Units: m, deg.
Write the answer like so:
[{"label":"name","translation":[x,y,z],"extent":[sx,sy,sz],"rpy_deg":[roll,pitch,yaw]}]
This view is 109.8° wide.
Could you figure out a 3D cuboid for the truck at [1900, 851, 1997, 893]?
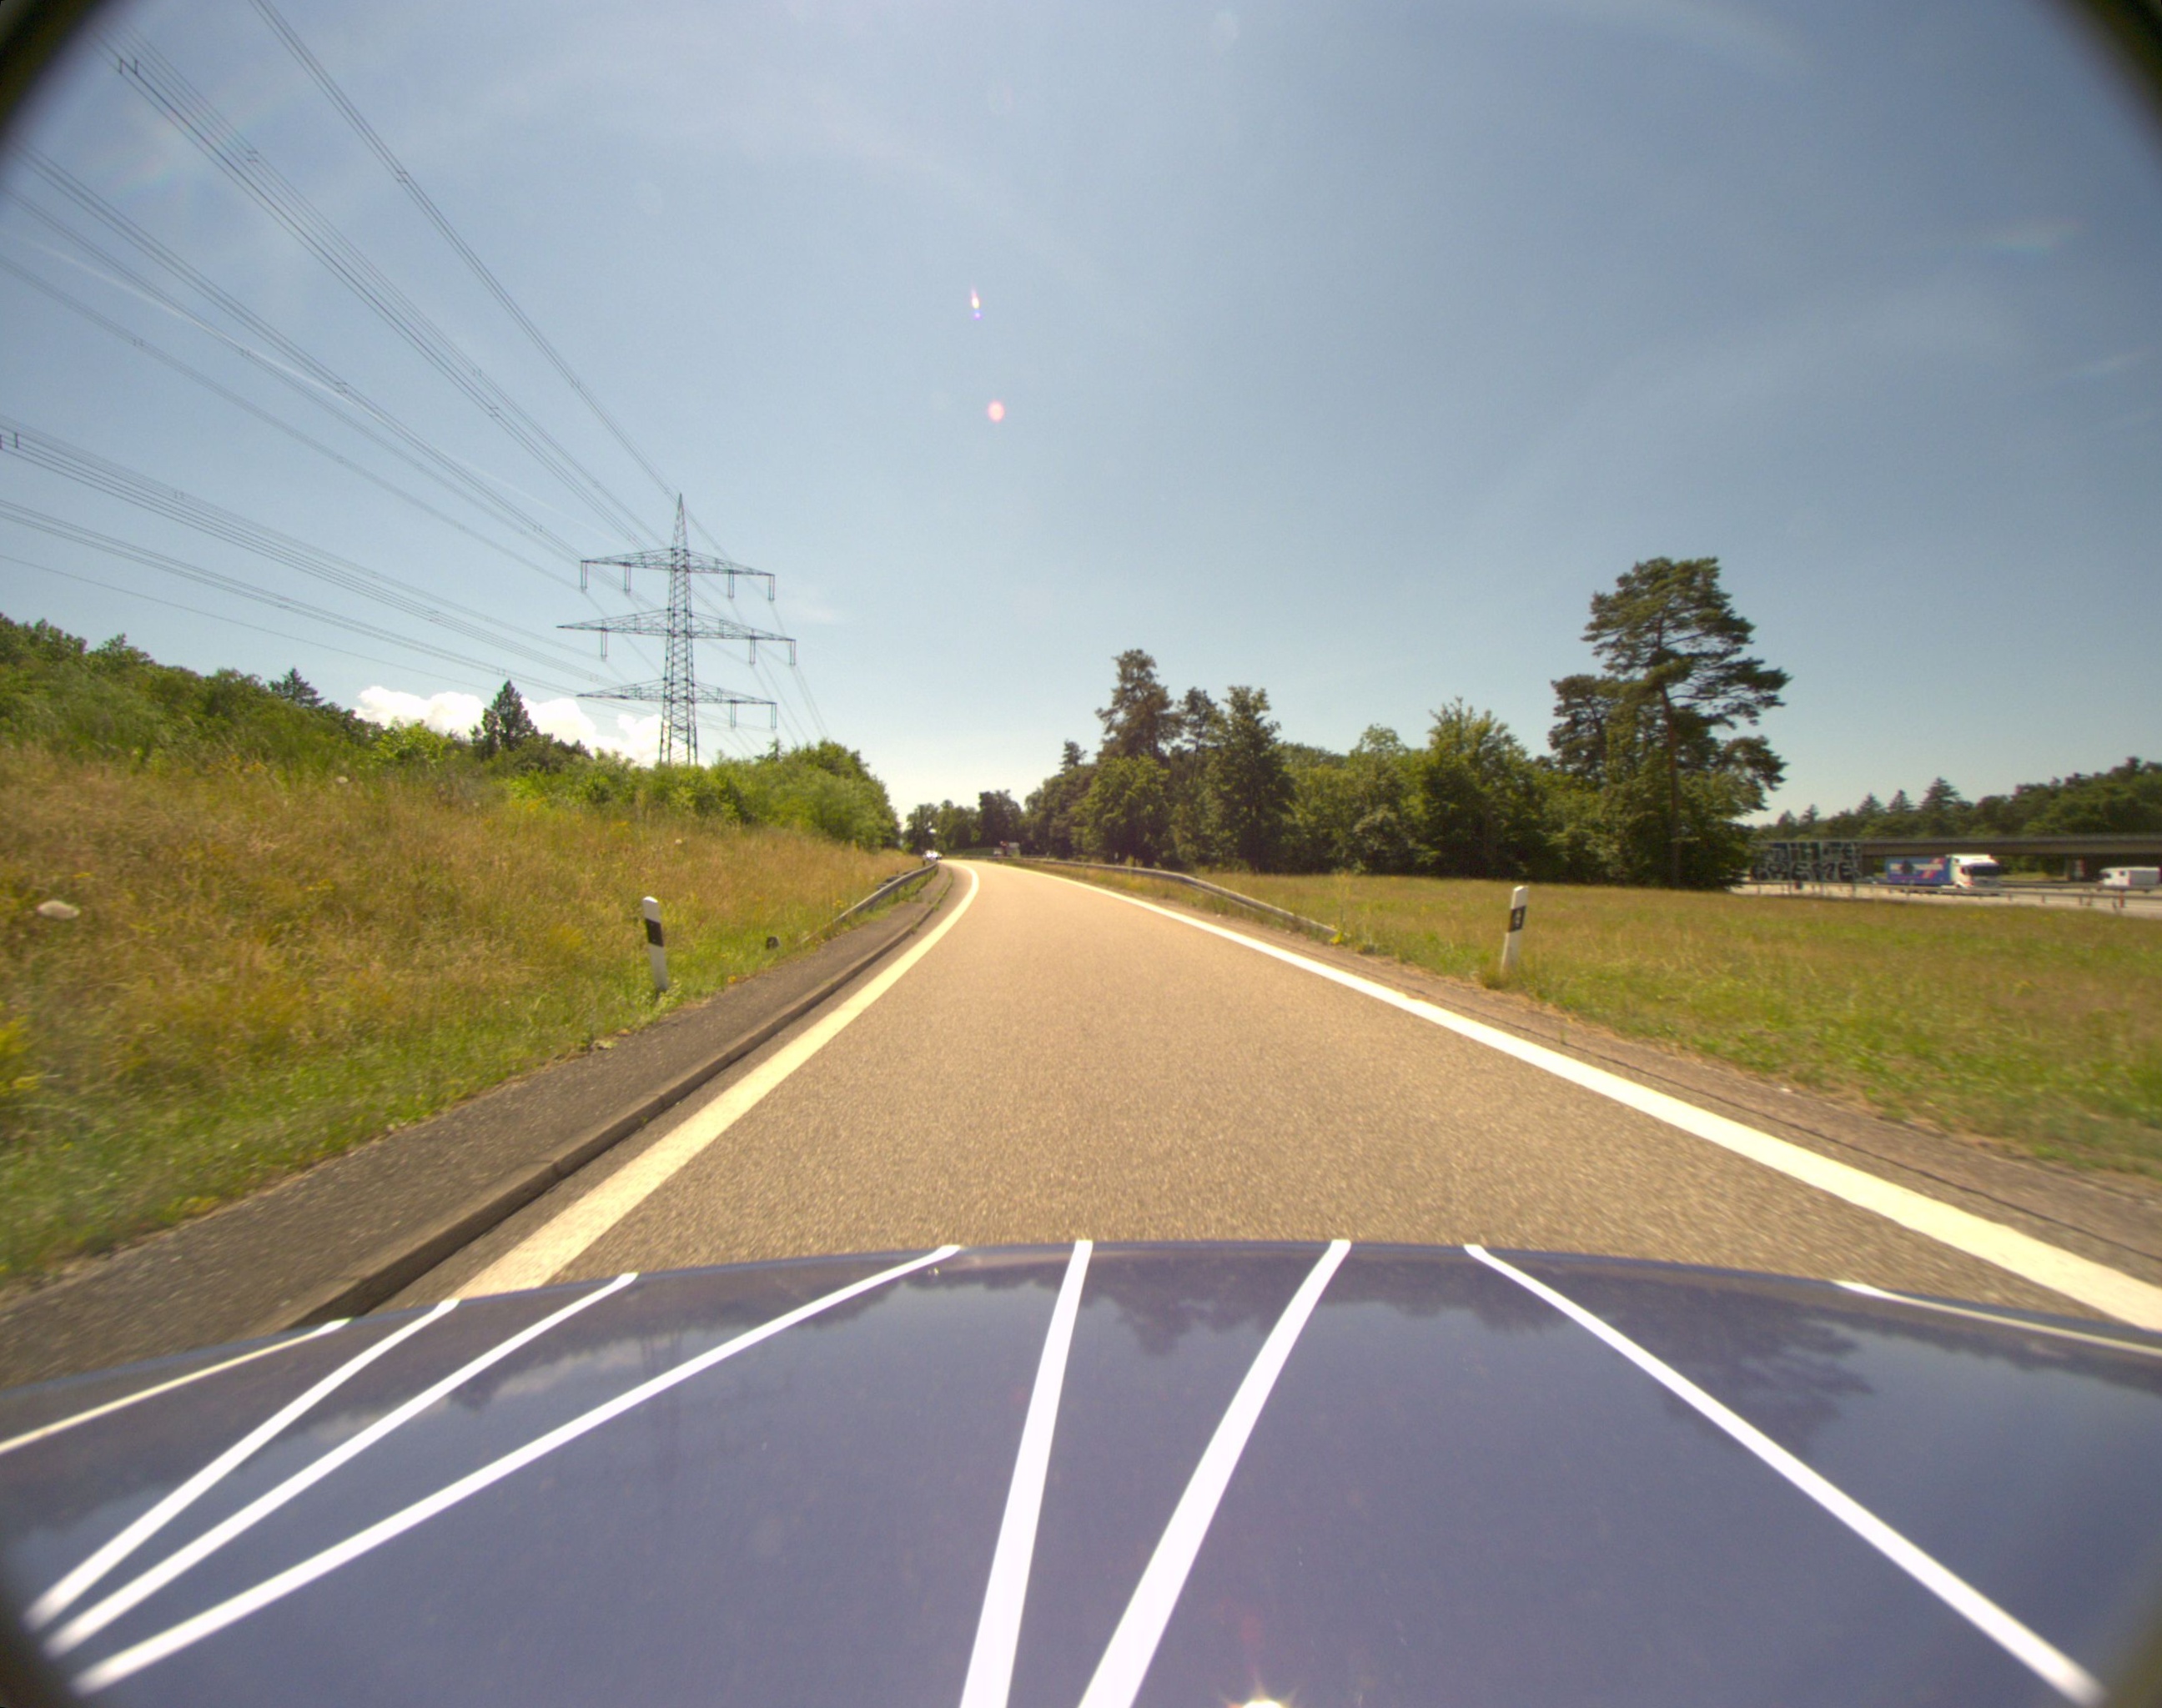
[{"label":"truck","translation":[87.807,1.808,77.210],"extent":[2.705,4.033,11.070],"rpy_deg":[-1,-1,28]}]

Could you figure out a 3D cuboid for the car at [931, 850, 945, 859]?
[{"label":"car","translation":[-27.690,0.114,147.138],"extent":[2.002,1.674,3.993],"rpy_deg":[-1,0,-21]}]

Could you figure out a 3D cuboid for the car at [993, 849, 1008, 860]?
[{"label":"car","translation":[-13.224,0.027,124.481],"extent":[2.001,1.631,5.265],"rpy_deg":[2,0,-12]}]

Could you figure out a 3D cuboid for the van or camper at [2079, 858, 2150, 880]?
[{"label":"van or camper","translation":[117.216,1.683,86.314],"extent":[2.243,2.362,5.838],"rpy_deg":[1,0,25]}]

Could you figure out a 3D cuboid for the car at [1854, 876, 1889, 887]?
[{"label":"car","translation":[109.850,3.777,105.633],"extent":[1.995,1.466,4.251],"rpy_deg":[-1,-1,26]}]
